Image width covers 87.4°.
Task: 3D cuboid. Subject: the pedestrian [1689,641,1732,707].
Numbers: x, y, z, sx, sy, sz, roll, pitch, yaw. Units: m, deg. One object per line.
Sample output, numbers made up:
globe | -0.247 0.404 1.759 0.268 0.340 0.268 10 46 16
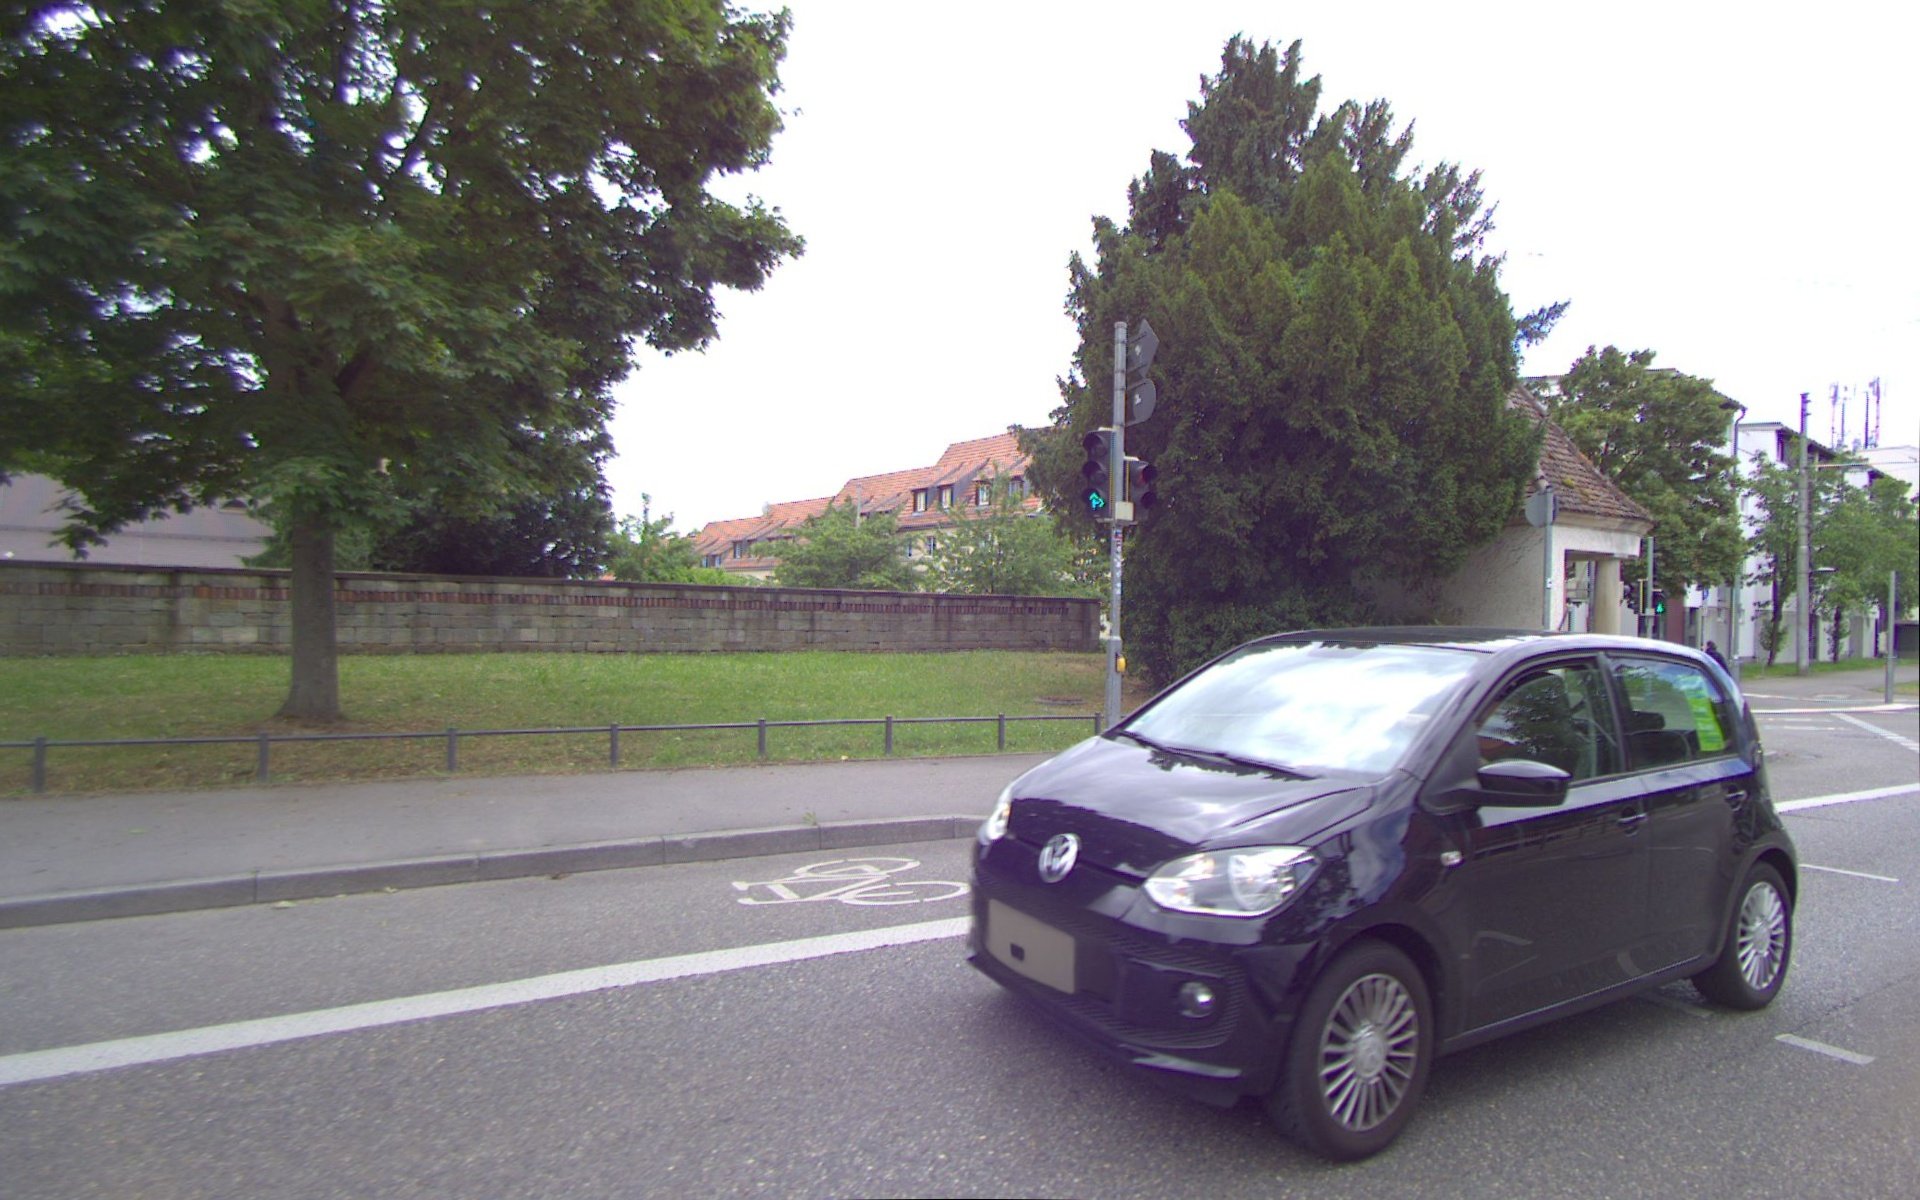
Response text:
pedestrian | 19.720 1.928 26.390 0.811 1.666 0.670 -1 -1 -35

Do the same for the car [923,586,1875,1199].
car | 1.913 0.756 4.086 3.783 1.468 1.655 2 -1 -31
